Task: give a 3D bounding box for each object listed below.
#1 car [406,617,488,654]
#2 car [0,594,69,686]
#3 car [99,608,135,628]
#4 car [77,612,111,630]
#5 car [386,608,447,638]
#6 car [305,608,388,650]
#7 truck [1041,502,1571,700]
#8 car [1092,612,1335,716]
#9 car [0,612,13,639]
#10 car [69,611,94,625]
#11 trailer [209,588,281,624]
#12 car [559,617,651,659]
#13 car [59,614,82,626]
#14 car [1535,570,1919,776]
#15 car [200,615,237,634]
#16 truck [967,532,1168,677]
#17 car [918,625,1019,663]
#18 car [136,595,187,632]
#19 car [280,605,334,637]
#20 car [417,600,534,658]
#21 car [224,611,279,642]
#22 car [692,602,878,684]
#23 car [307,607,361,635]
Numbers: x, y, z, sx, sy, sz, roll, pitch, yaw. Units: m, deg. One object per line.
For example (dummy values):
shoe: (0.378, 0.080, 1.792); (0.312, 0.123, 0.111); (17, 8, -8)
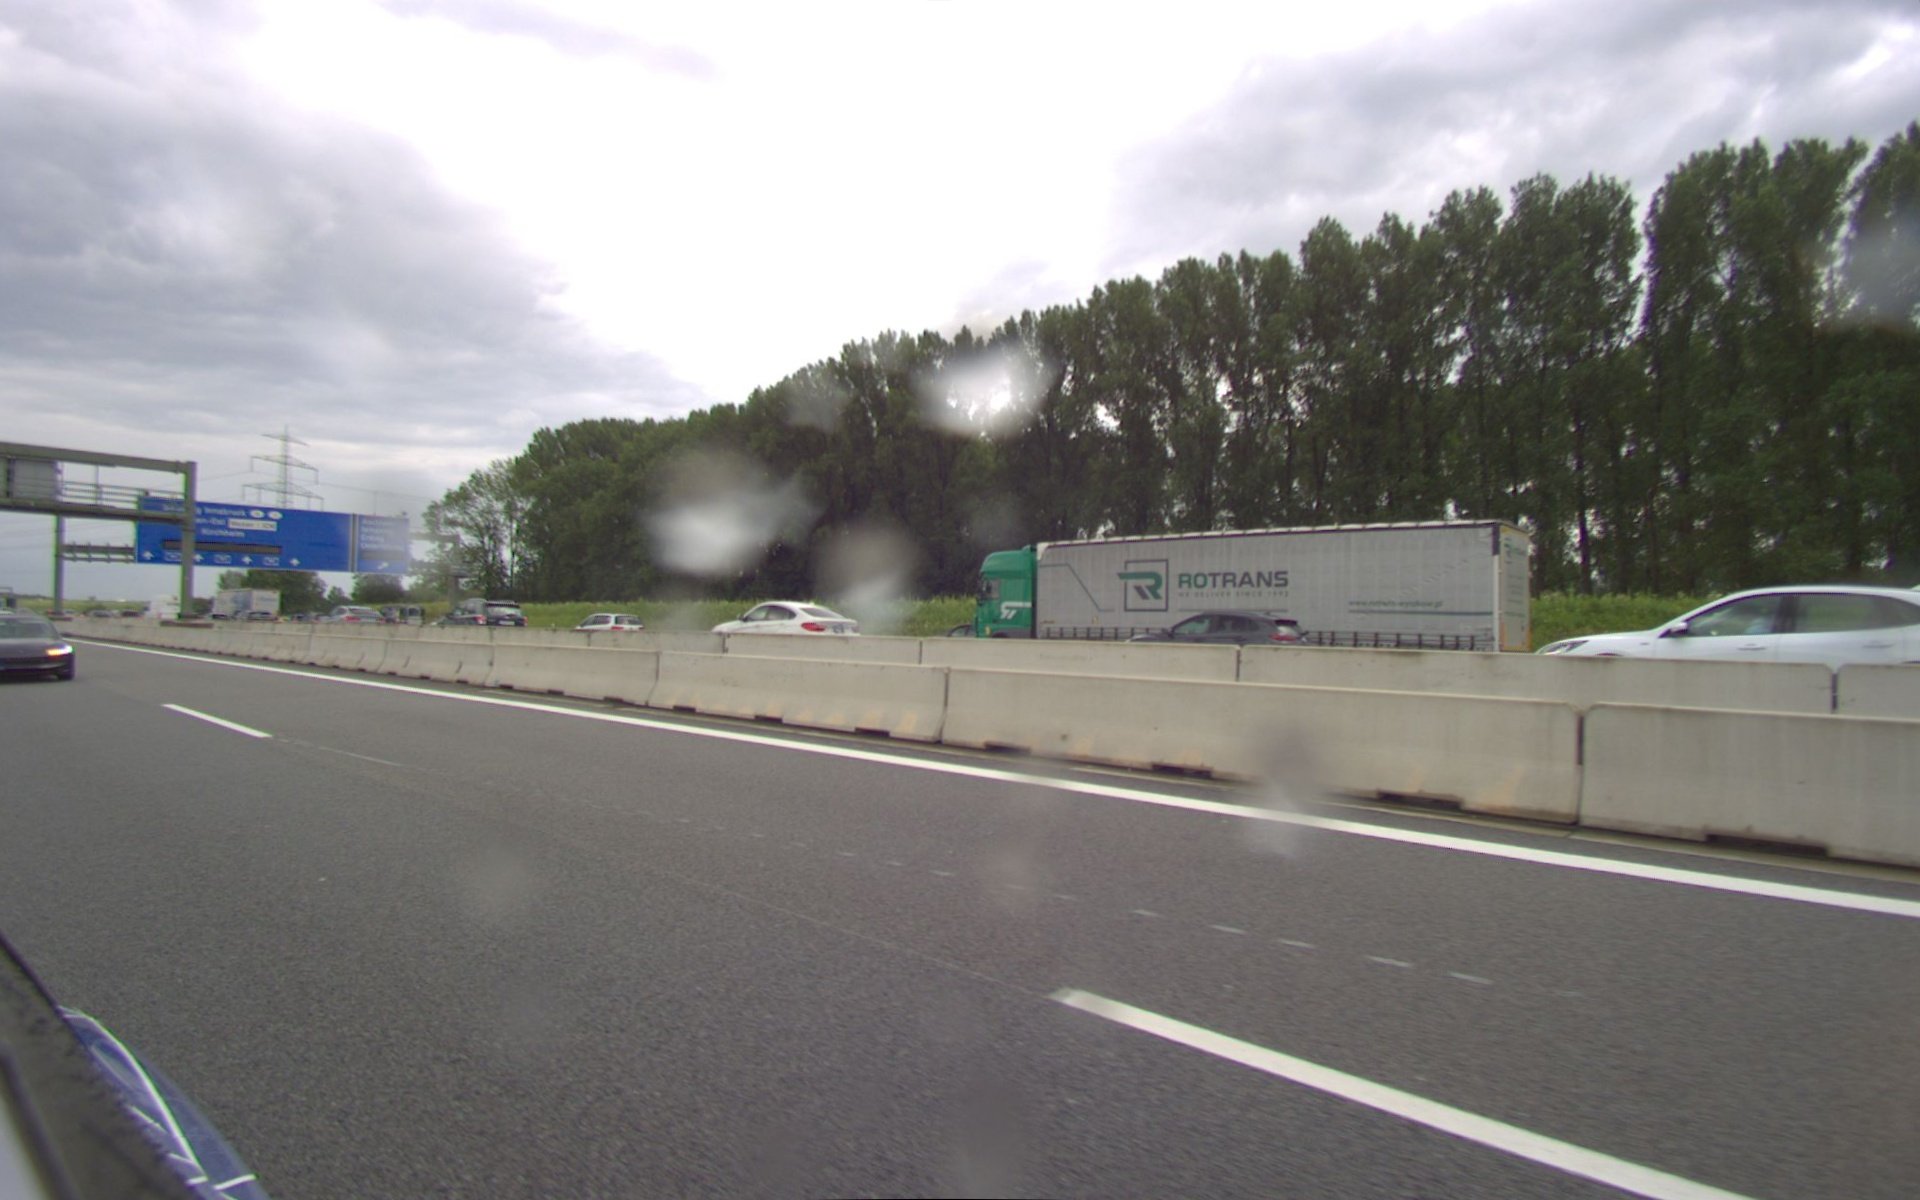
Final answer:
car: (-25.381, 1.705, 49.998); (5.078, 1.717, 1.972); (-1, -2, 43)
car: (-21.028, 0.830, 22.144); (5.165, 1.834, 1.971); (-1, -1, 45)
car: (-72.540, 1.554, 87.056); (3.999, 1.670, 1.849); (-1, -1, 42)
car: (-84.947, 2.013, 99.272); (4.016, 1.740, 1.972); (-1, -1, 42)
car: (-33.558, 1.398, 62.416); (4.968, 1.807, 1.687); (-1, -1, 41)
car: (-29.305, 1.357, 48.291); (5.185, 1.900, 1.972); (-1, -1, 42)
truck: (8.693, 0.093, 28.227); (13.951, 4.345, 3.114); (-1, -1, 43)
car: (5.278, 1.248, 21.507); (4.638, 1.948, 1.972); (-1, -1, 43)
car: (-59.289, 1.541, 61.841); (4.000, 1.586, 1.798); (-1, -1, 43)
car: (-114.290, 2.315, 131.706); (4.016, 1.740, 1.972); (-1, -1, 42)
trailer: (-75.166, 0.688, 106.218); (14.448, 3.534, 3.077); (-1, -1, 42)
car: (-16.748, 1.746, 47.594); (5.078, 1.867, 1.972); (-1, -2, 43)
car: (-125.034, 2.785, 142.212); (4.017, 1.740, 1.972); (-1, -1, 43)
car: (9.390, 0.728, 11.379); (4.764, 2.029, 1.972); (-1, -1, 43)
car: (-67.953, 2.201, 92.767); (3.999, 1.719, 1.972); (-1, -1, 42)
truck: (3.417, 0.186, 33.144); (5.911, 4.314, 3.084); (-1, -2, 43)
car: (0.311, 1.778, 41.908); (3.998, 1.443, 1.783); (-1, -1, 41)
car: (-60.456, 1.011, 76.579); (6.341, 2.636, 1.972); (-1, -1, 42)
car: (-42.296, 1.347, 65.515); (3.998, 2.029, 1.973); (-1, -1, 41)
car: (-17.195, 0.976, 35.792); (5.186, 1.912, 1.972); (-1, -1, 43)
car: (-42.782, 1.569, 61.081); (4.428, 1.807, 1.687); (-1, -1, 41)
car: (-4.489, 1.024, 25.426); (5.078, 1.867, 1.972); (-1, -2, 43)
car: (-47.283, 1.561, 76.400); (5.402, 2.029, 1.972); (-1, -1, 42)
